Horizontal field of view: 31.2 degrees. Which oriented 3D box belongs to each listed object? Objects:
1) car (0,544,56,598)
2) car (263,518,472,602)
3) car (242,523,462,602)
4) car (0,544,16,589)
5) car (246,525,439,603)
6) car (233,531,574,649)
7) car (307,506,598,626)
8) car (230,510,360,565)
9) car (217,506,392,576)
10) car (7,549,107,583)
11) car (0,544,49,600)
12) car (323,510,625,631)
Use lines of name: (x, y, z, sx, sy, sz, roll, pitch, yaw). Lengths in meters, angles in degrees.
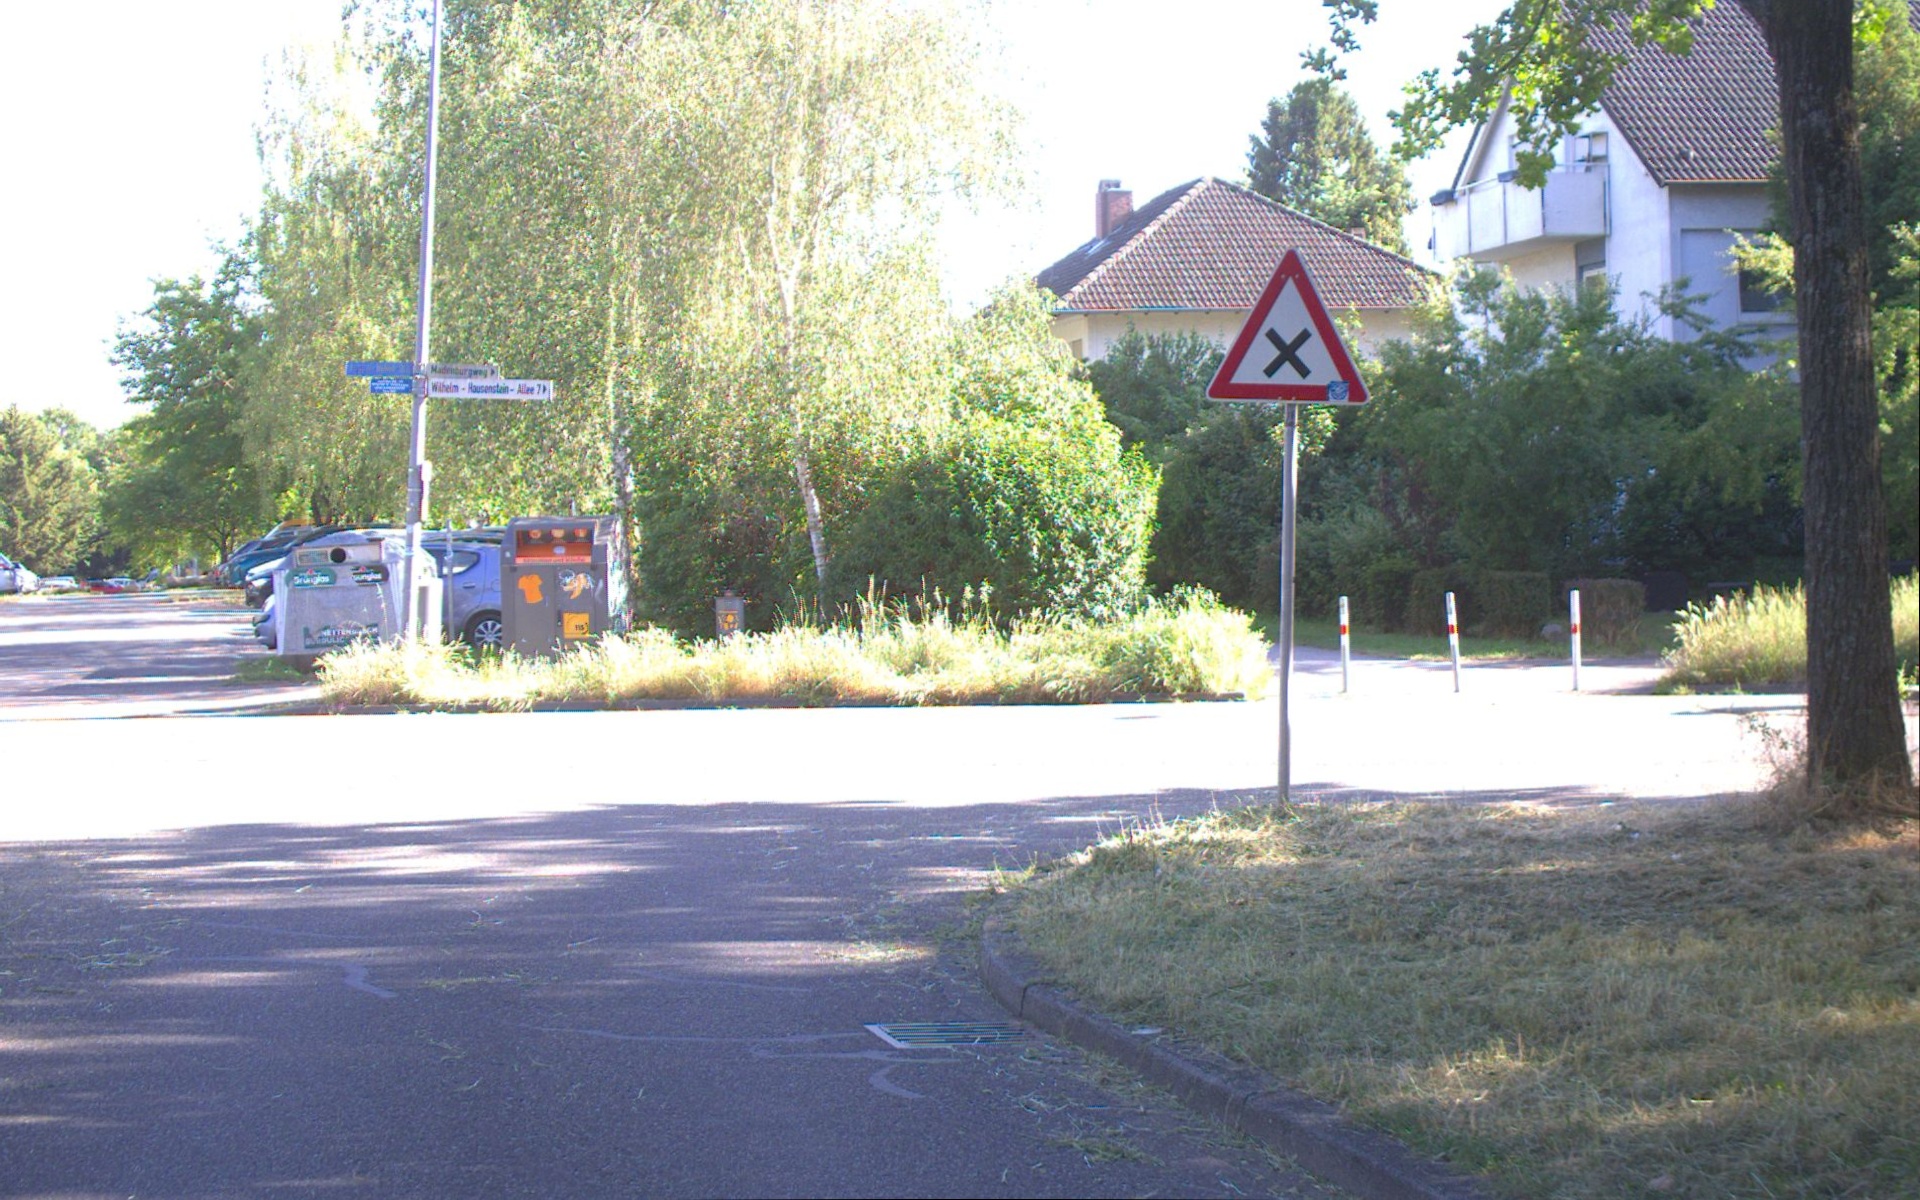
car: (-25.140, -0.703, 87.687, 3.938, 1.329, 1.848, -2, 2, -13)
car: (-11.674, -0.791, 67.923, 3.986, 1.580, 1.798, -1, 1, -9)
car: (-11.402, -0.705, 64.663, 3.986, 1.396, 1.798, -1, 1, -9)
car: (-30.828, -0.964, 104.591, 3.938, 1.329, 1.848, -2, 2, -13)
car: (-13.187, -0.769, 73.553, 3.986, 1.580, 1.798, -1, 1, -9)
car: (-7.050, -0.141, 43.790, 4.052, 1.434, 1.635, 0, 1, 1)
car: (-7.714, -0.544, 52.238, 4.102, 1.700, 1.791, -1, 3, -18)
car: (-21.188, -1.996, 109.667, 3.986, 1.702, 1.798, -1, 1, -9)
car: (-15.544, -1.401, 81.666, 3.986, 1.580, 1.798, -1, 1, -9)
car: (-35.045, -1.329, 133.436, 3.643, 1.208, 1.848, -2, 2, -13)
car: (-24.613, -0.649, 85.007, 3.938, 1.329, 1.848, -2, 2, -13)
car: (-6.994, -0.449, 49.425, 4.051, 1.597, 1.791, -1, 3, -17)
